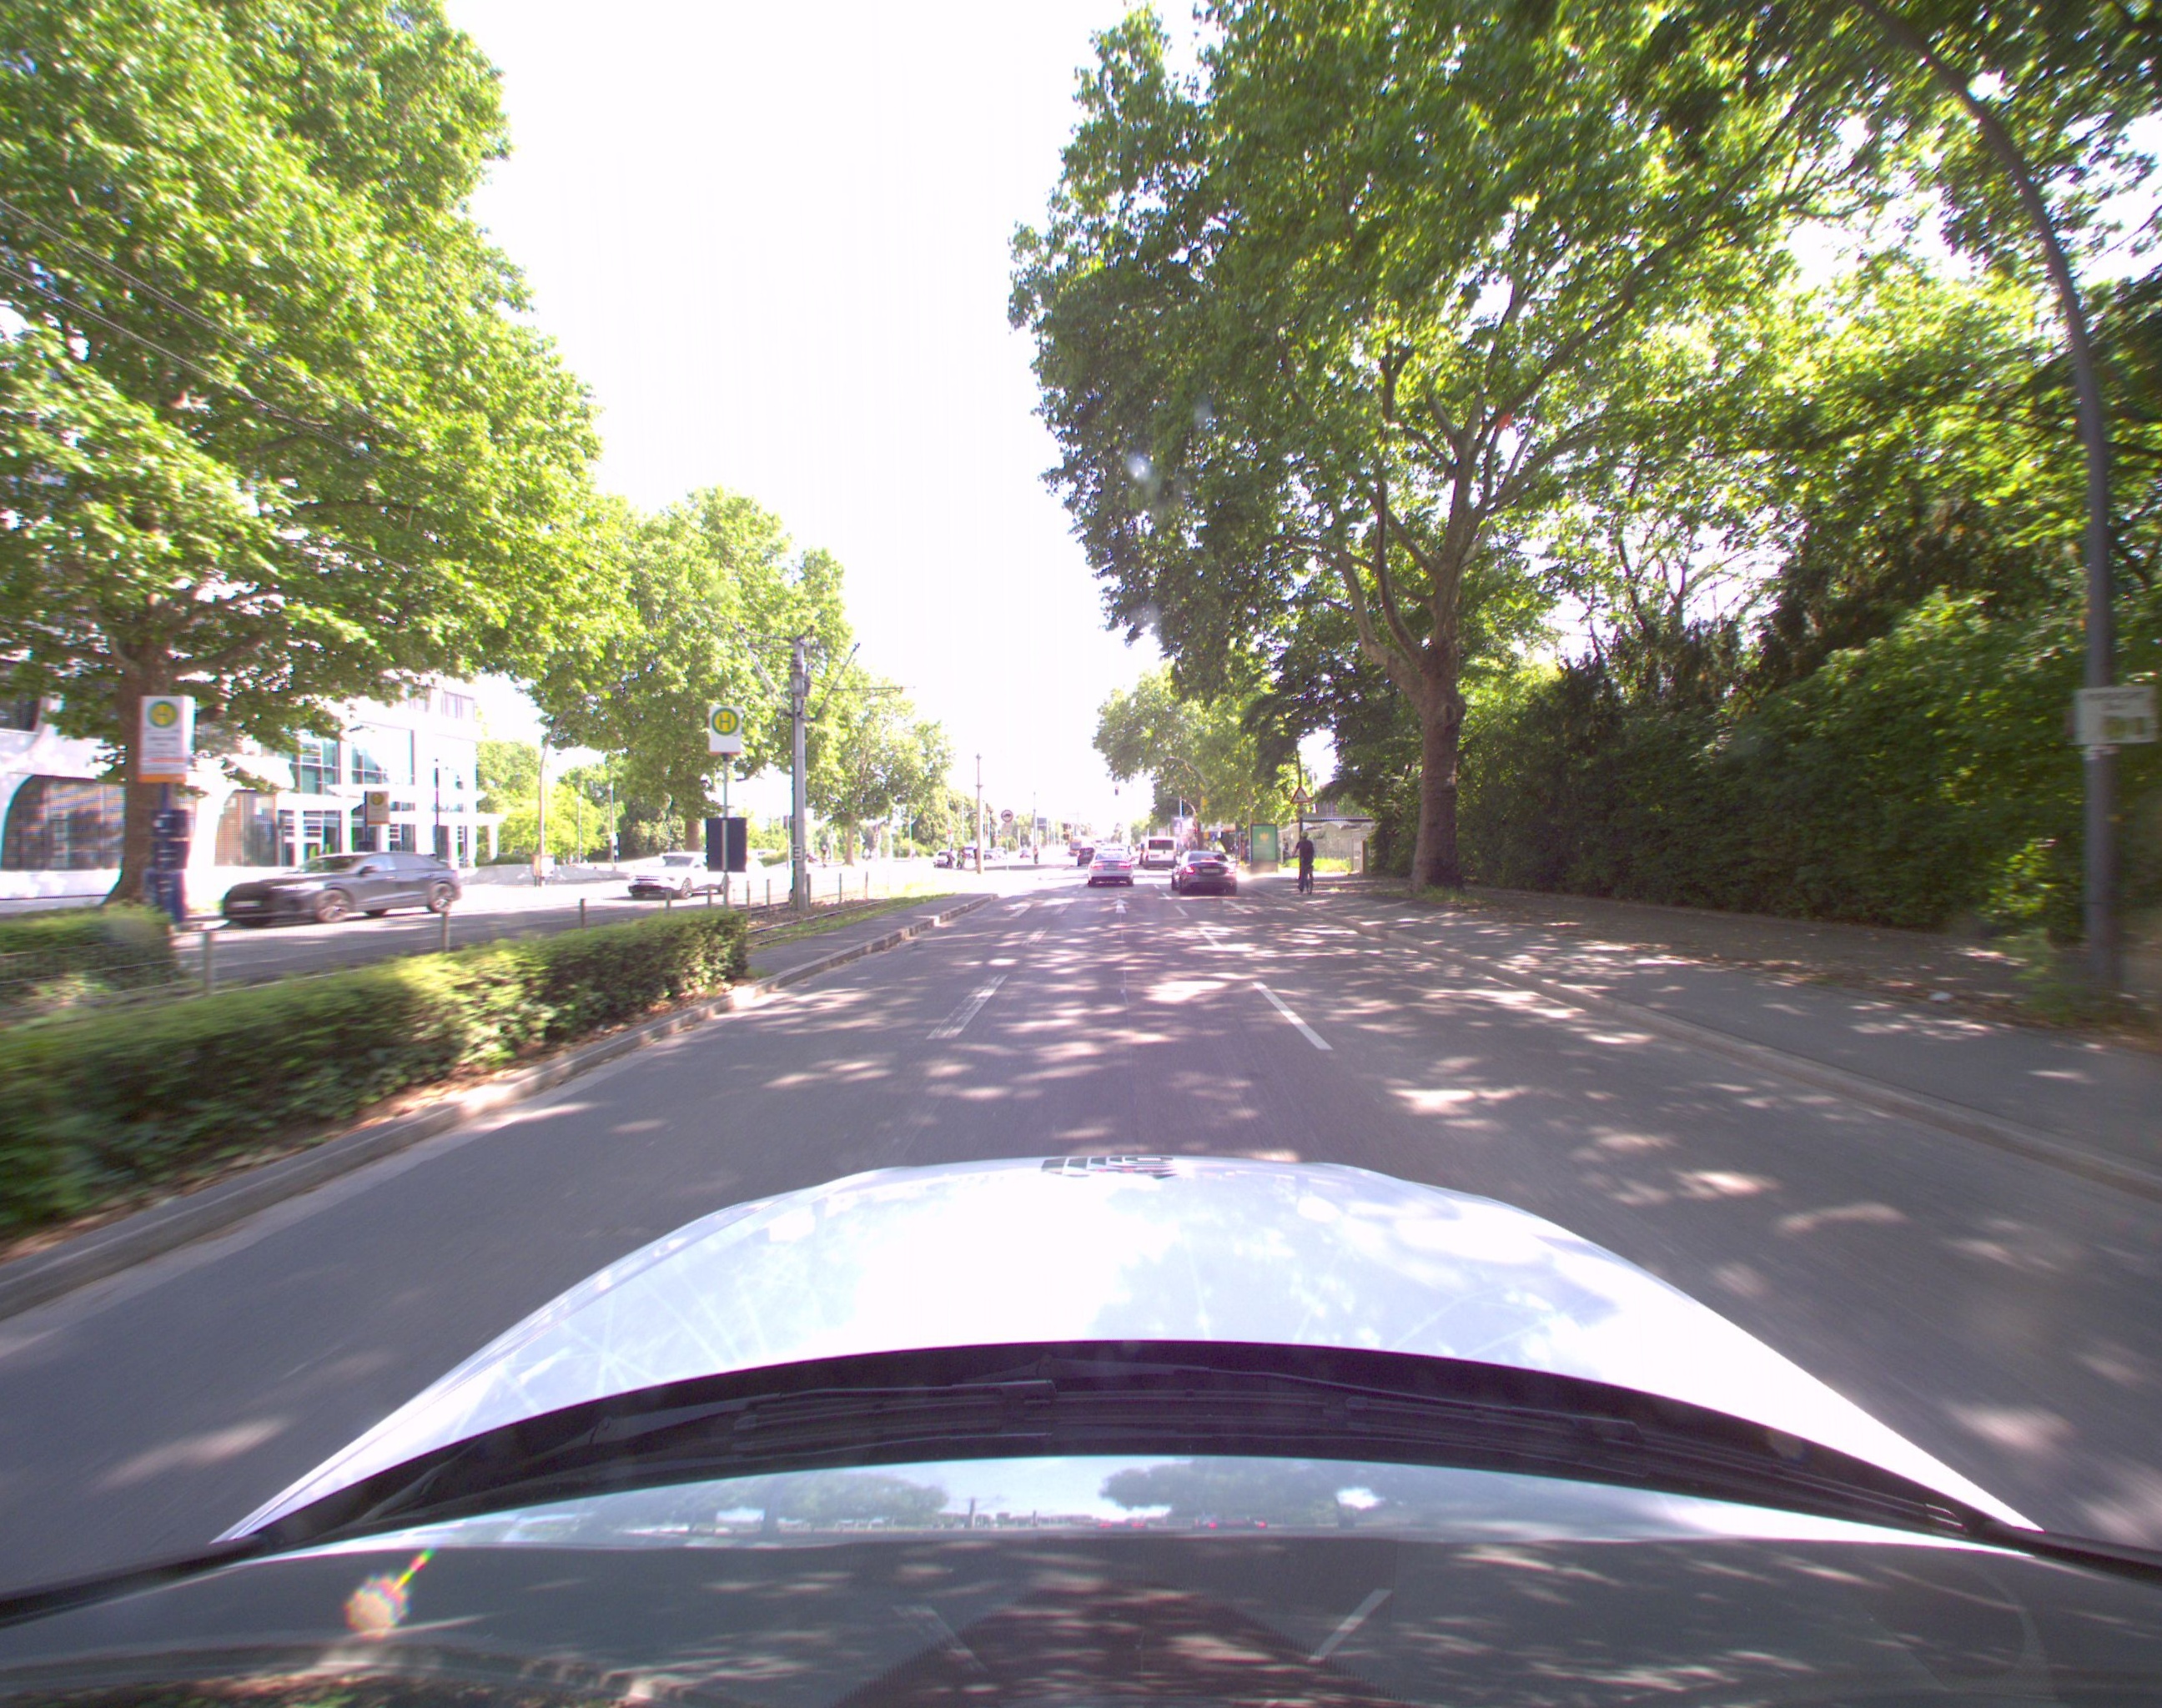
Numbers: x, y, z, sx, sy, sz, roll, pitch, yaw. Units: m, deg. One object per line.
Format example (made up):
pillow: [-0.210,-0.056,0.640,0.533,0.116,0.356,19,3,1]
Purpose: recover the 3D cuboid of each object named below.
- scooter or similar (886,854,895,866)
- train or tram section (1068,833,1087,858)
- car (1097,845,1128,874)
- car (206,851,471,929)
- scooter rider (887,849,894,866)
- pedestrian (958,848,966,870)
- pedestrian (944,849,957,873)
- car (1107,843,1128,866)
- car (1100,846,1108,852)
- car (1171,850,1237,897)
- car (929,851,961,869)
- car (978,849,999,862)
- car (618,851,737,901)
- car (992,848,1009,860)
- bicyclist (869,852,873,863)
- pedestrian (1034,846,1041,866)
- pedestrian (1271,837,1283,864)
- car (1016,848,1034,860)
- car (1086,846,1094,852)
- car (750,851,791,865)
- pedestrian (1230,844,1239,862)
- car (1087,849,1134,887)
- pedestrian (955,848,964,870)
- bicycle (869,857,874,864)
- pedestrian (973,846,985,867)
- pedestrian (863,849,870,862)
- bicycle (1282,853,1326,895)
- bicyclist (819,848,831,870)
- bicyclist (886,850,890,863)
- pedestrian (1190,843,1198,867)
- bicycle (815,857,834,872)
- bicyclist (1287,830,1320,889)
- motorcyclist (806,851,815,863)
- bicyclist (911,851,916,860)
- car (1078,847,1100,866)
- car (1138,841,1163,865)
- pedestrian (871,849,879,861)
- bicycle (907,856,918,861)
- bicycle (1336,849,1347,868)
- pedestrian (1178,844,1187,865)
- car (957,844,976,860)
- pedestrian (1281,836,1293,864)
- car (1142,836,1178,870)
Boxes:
scooter or similar: [-18.480,0.585,78.999,0.545,1.112,1.249,0,0,3]
train or tram section: [-0.476,-1.384,134.311,2.606,4.015,7.755,0,0,3]
car: [1.858,0.296,47.385,1.722,1.605,3.888,0,0,3]
car: [-17.747,0.763,19.903,1.822,1.624,4.899,-1,0,2]
scooter rider: [-18.470,0.325,79.006,0.504,1.631,0.566,0,0,3]
pedestrian: [-9.058,0.353,62.106,0.490,1.679,0.644,0,0,3]
pedestrian: [-8.914,0.452,55.731,0.760,1.623,0.590,0,0,-23]
car: [3.196,0.039,70.838,1.722,1.901,4.003,0,0,3]
car: [6.204,-1.322,221.519,1.862,1.609,4.006,0,0,5]
car: [3.994,0.586,27.086,1.775,1.420,4.003,0,0,3]
car: [-11.821,0.513,70.885,1.789,1.488,4.389,0,0,3]
car: [-11.231,0.150,98.604,1.863,1.609,4.003,0,0,3]
car: [-13.752,0.707,28.067,1.803,1.563,4.307,-1,0,2]
car: [-11.056,0.016,111.974,1.756,1.609,3.863,0,0,3]
bicyclist: [-24.302,0.376,94.335,0.384,1.311,0.465,0,0,-4]
pedestrian: [-4.180,0.164,77.960,0.621,1.918,0.690,0,0,3]
pedestrian: [13.663,-0.253,56.827,0.611,1.896,0.694,-1,0,0]
car: [-8.098,-0.004,117.842,1.985,1.734,4.003,0,0,3]
car: [2.489,-1.274,221.562,1.862,1.609,4.006,0,0,5]
car: [-34.160,0.461,89.738,3.832,1.549,1.771,0,0,2]
pedestrian: [15.377,-0.150,81.791,0.771,1.788,0.768,-1,0,19]
car: [1.203,0.527,32.933,1.777,1.420,3.888,0,0,3]
pedestrian: [-9.163,0.405,61.367,0.590,1.646,0.555,0,0,3]
bicycle: [-24.300,0.782,94.392,0.420,0.748,1.144,0,0,-5]
pedestrian: [-8.542,0.211,68.201,0.769,1.734,0.756,0,0,11]
pedestrian: [-25.952,0.137,98.421,0.620,1.542,0.644,-1,0,1]
bicycle: [6.499,0.559,23.835,0.712,1.148,2.179,-3,-1,2]
bicyclist: [-19.221,0.389,61.068,0.572,1.604,0.839,0,0,3]
bicyclist: [-21.866,0.310,92.255,0.480,1.416,0.589,-1,0,-15]
pedestrian: [9.218,0.083,66.420,0.632,1.946,0.719,0,0,3]
bicycle: [-19.210,0.782,61.037,0.664,1.094,1.885,0,0,3]
bicyclist: [6.485,0.145,23.782,0.632,1.648,0.980,-3,0,2]
motorcyclist: [-30.352,0.360,91.400,0.750,1.314,0.604,-1,0,3]
bicyclist: [-23.493,0.196,114.242,0.469,1.292,0.500,0,0,31]
car: [0.726,0.177,70.820,1.722,1.631,4.003,0,0,3]
car: [6.069,-0.087,71.699,2.063,1.999,4.061,0,0,3]
pedestrian: [-24.903,0.117,98.434,0.620,1.542,0.783,-1,0,1]
bicycle: [-23.621,0.663,114.045,0.486,0.731,1.632,0,0,31]
bicycle: [16.450,0.295,51.373,0.387,1.180,1.174,0,0,3]
pedestrian: [8.487,0.026,67.844,0.600,1.694,0.954,-3,0,3]
car: [-17.139,-0.309,122.133,2.105,2.382,4.004,-1,0,3]
pedestrian: [14.409,-0.274,56.945,0.611,1.896,0.597,-1,0,-1]
car: [5.398,-0.084,55.940,2.221,2.211,4.165,0,0,3]
